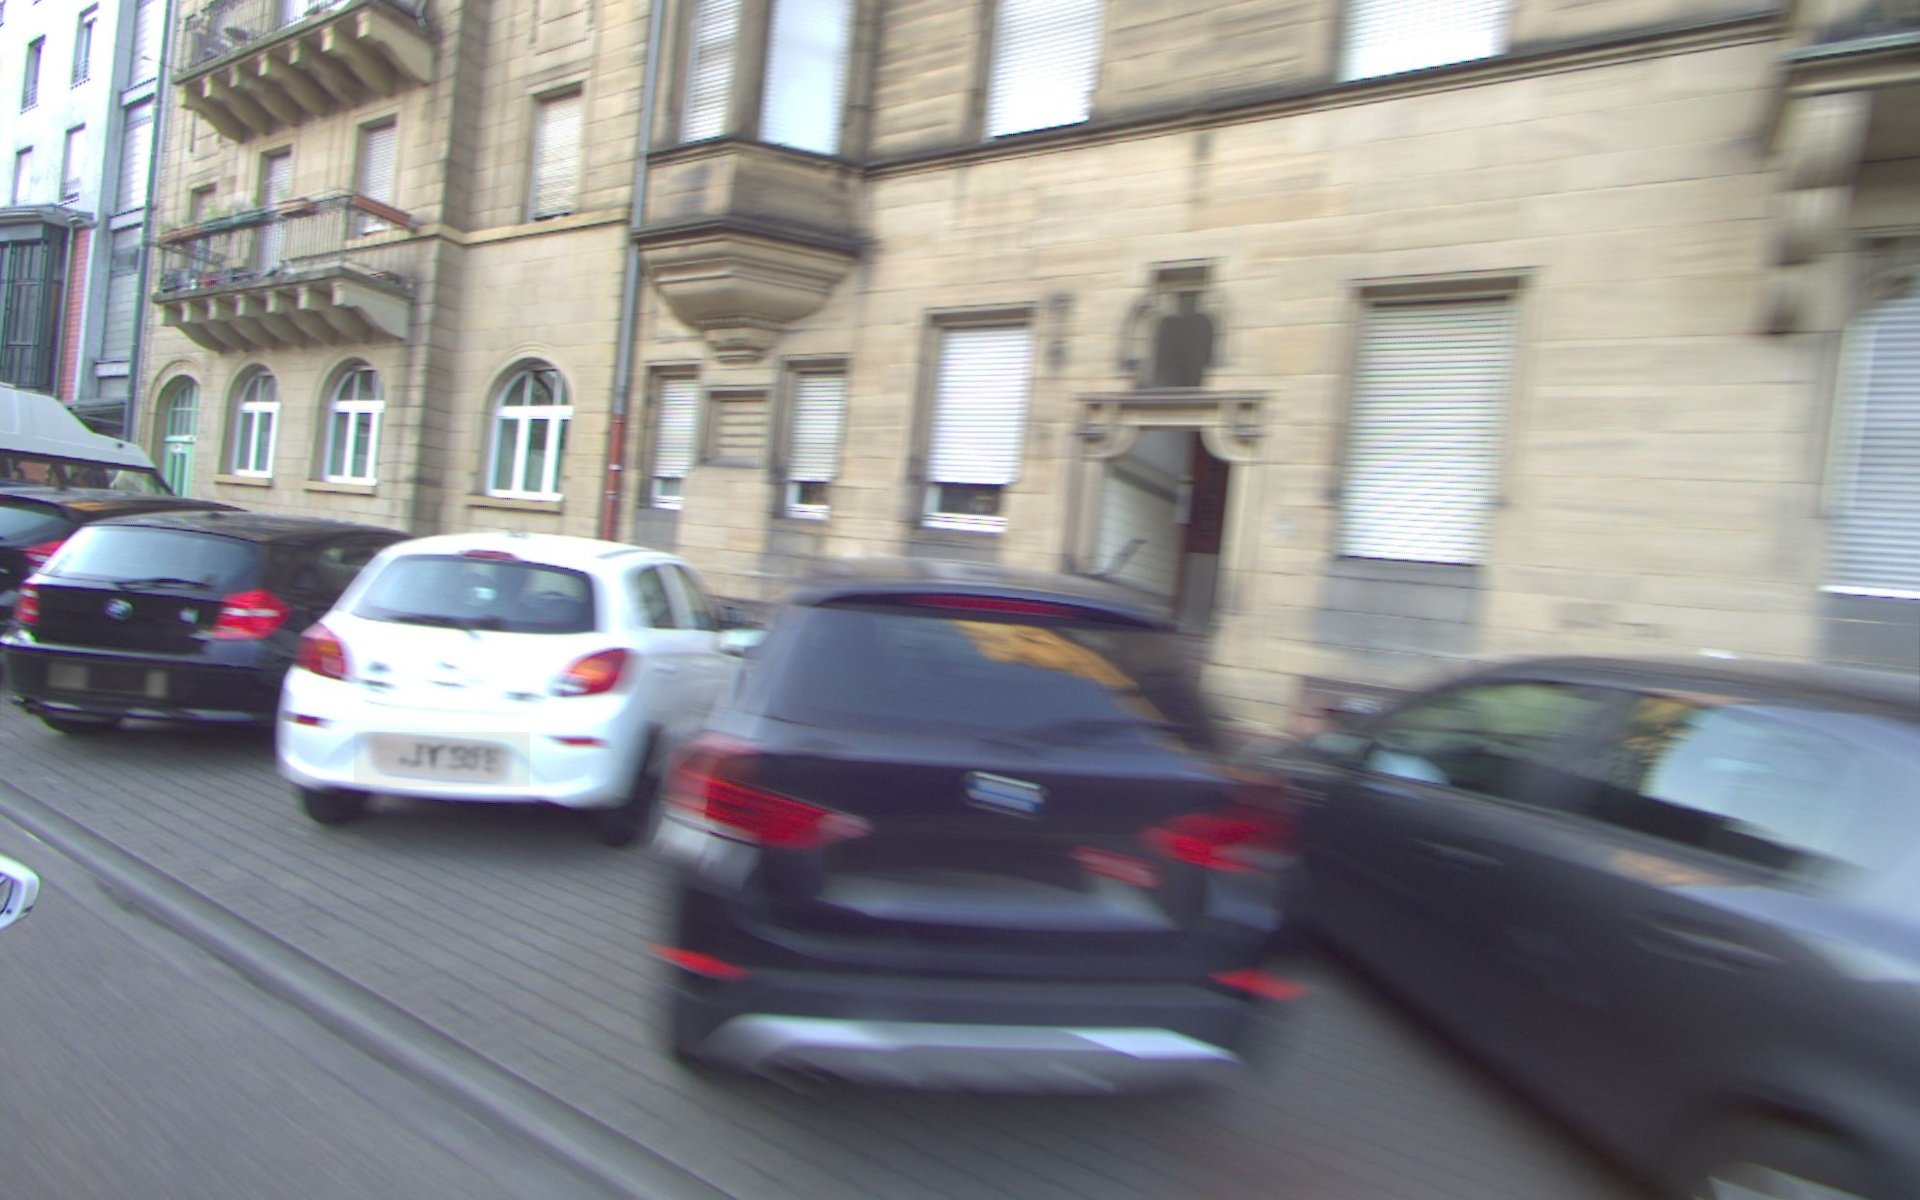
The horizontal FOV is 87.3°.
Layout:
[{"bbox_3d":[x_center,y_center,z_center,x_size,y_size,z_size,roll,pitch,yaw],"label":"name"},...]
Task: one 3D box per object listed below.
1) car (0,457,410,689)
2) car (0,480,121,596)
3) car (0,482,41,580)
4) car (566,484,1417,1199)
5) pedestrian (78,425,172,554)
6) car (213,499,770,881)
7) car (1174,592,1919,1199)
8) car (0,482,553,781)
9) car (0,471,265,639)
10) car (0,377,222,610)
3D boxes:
[{"bbox_3d":[-7.040,-0.242,8.929,1.761,1.566,4.121,4,1,4],"label":"car"},{"bbox_3d":[-13.866,-0.961,13.122,1.877,1.521,4.358,7,0,4],"label":"car"},{"bbox_3d":[-15.871,-1.197,14.309,1.692,1.510,4.070,7,0,1],"label":"car"},{"bbox_3d":[-0.100,0.576,4.286,1.784,1.629,4.092,5,2,-6],"label":"car"},{"bbox_3d":[-14.238,-1.892,17.166,0.844,2.030,0.610,8,-7,34],"label":"pedestrian"},{"bbox_3d":[-2.411,0.344,6.389,1.722,1.518,4.052,5,2,-3],"label":"car"},{"bbox_3d":[2.282,0.876,3.369,1.687,1.565,3.907,4,2,-9],"label":"car"},{"bbox_3d":[-4.680,0.081,7.289,1.834,1.451,4.029,5,2,-2],"label":"car"},{"bbox_3d":[-9.476,-0.520,10.064,1.809,1.506,4.394,6,2,2],"label":"car"},{"bbox_3d":[-11.629,-1.273,11.934,1.882,2.578,4.727,6,0,3],"label":"car"}]
